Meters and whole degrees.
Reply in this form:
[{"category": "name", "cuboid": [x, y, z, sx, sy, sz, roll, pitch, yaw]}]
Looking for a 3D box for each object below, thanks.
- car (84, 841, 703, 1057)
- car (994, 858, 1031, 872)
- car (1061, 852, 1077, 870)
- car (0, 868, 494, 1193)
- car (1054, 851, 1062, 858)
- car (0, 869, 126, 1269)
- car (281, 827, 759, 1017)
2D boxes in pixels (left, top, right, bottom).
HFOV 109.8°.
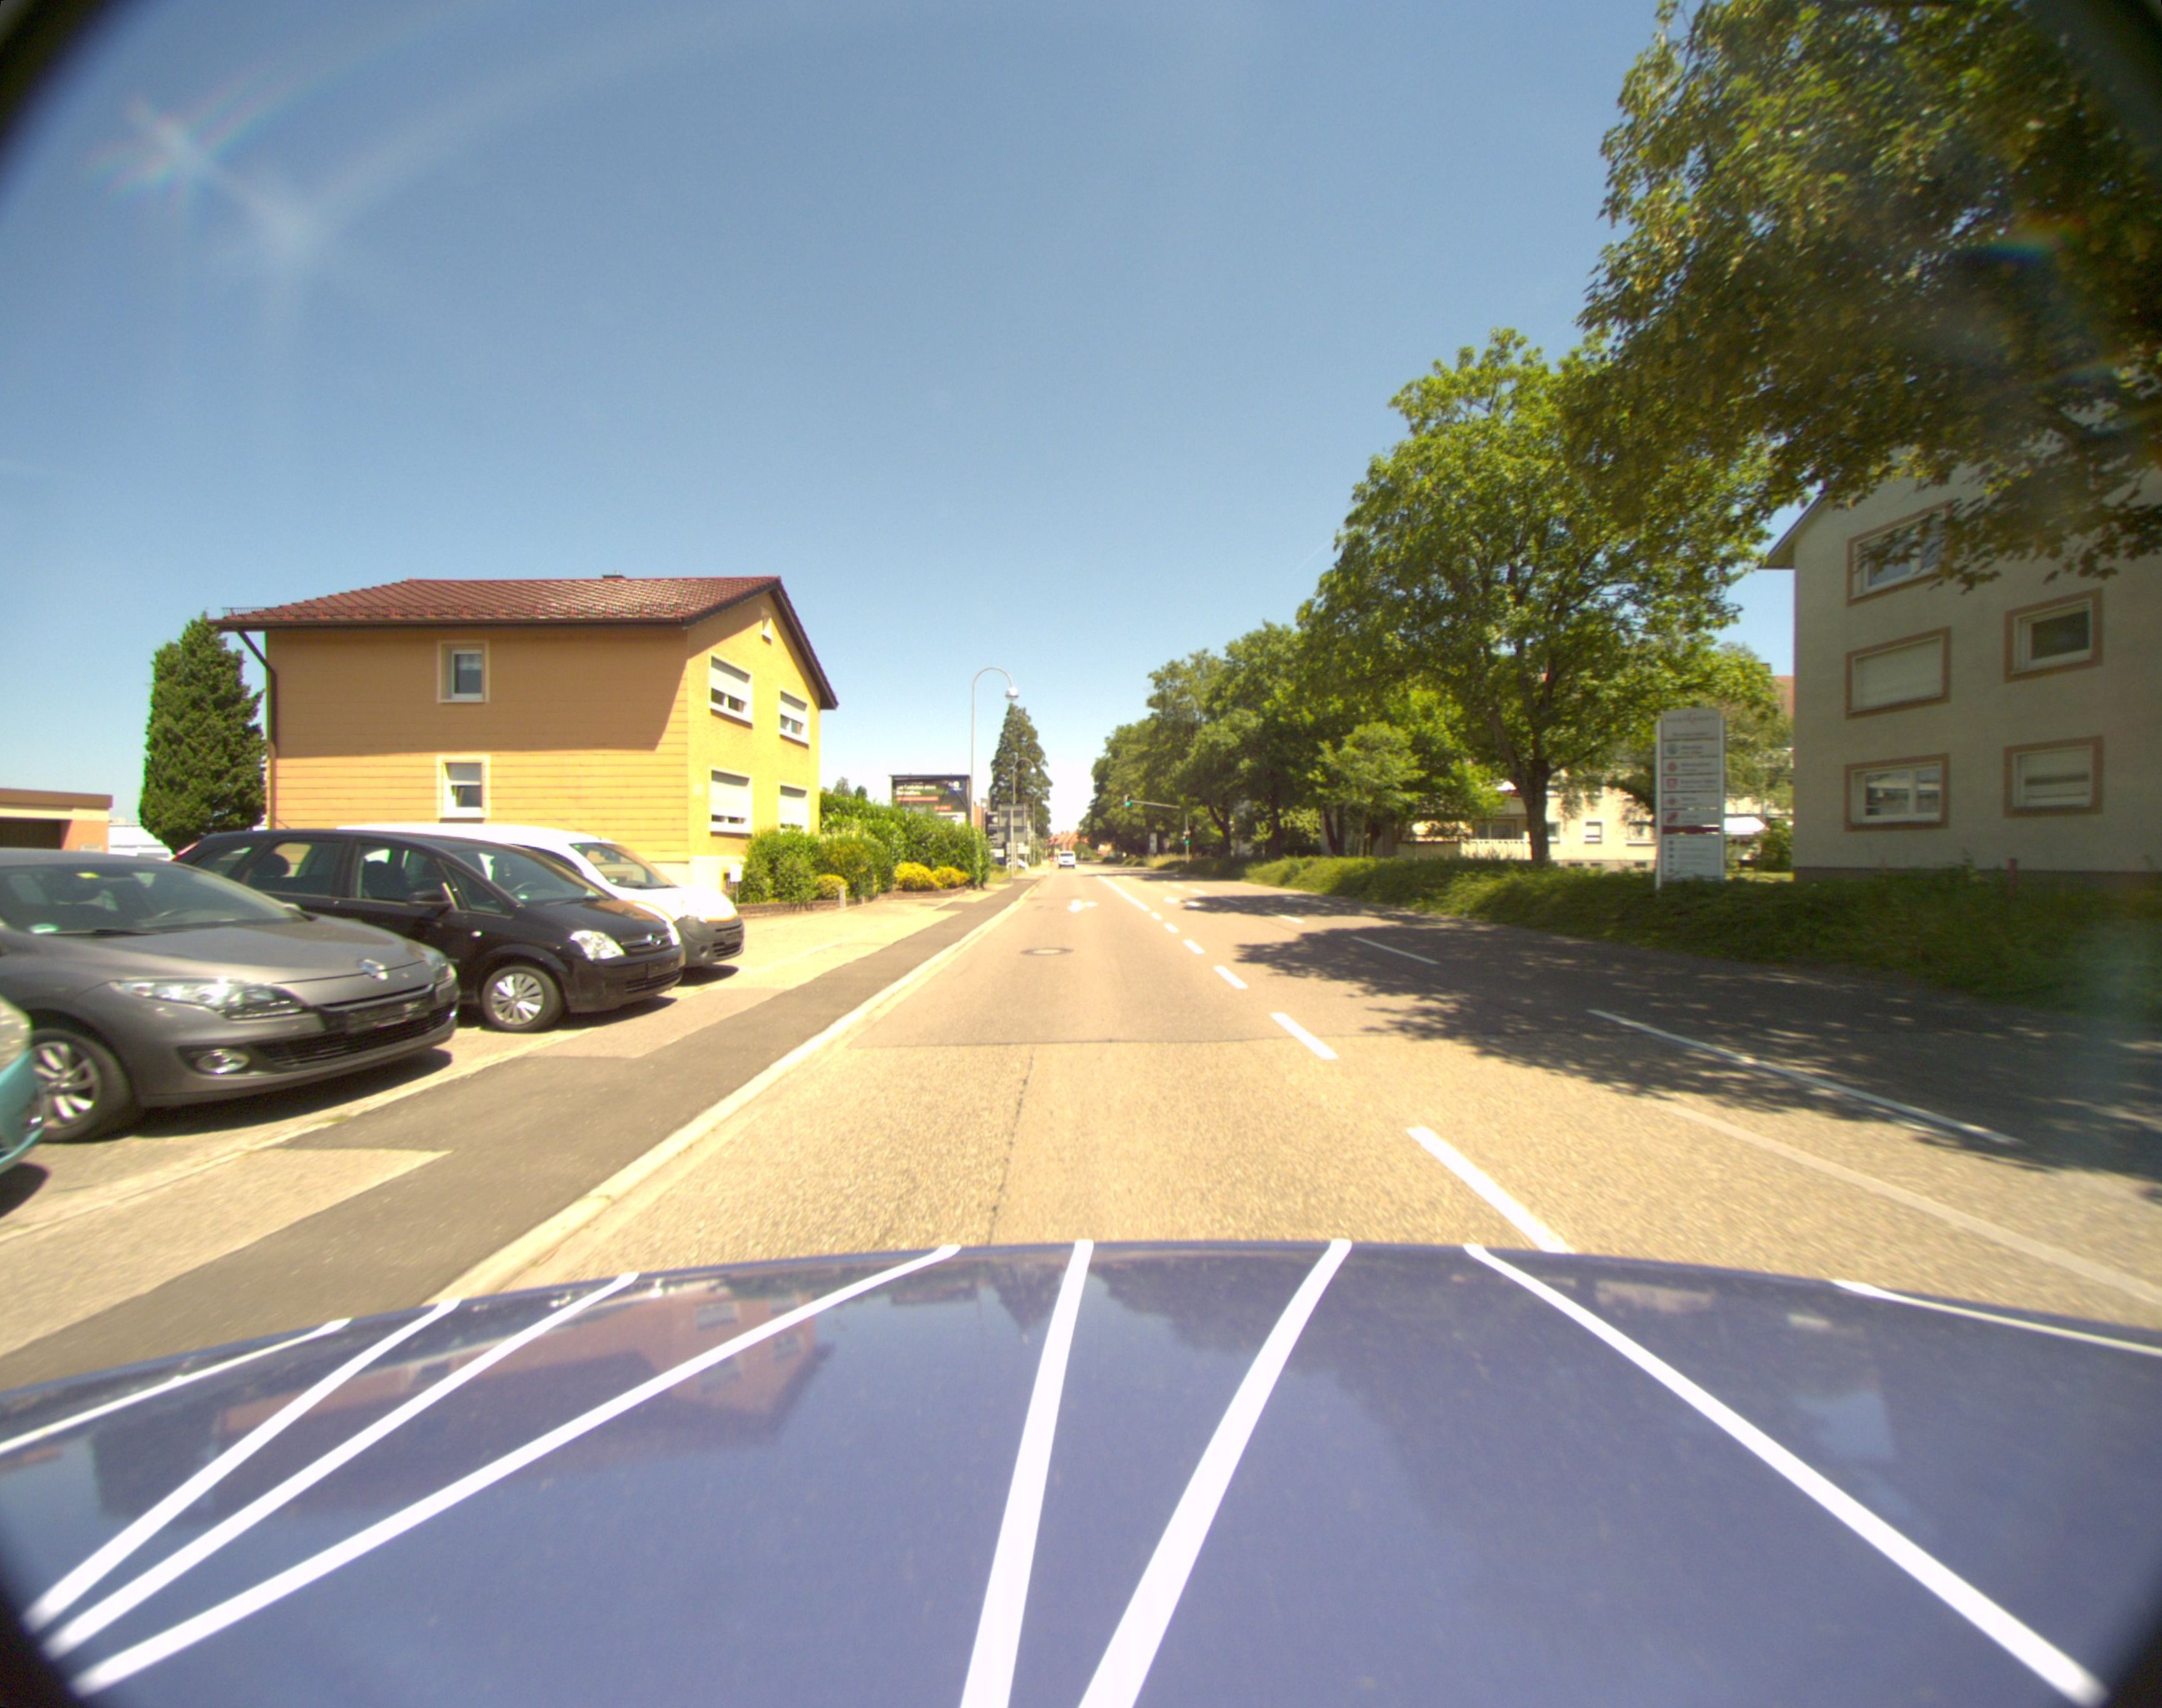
[{"category": "car", "cuboid": [-5.788, 0.750, 6.835, 3.886, 1.671, 1.763, 0, 0, -2]}, {"category": "car", "cuboid": [-7.218, 1.111, 80.106, 3.637, 1.375, 1.627, -1, 1, 1]}, {"category": "car", "cuboid": [-1.440, 0.784, 87.660, 1.796, 1.904, 3.639, -1, 1, -1]}, {"category": "car", "cuboid": [-6.138, 0.859, 4.576, 3.801, 1.501, 1.833, 0, 0, 1]}, {"category": "car", "cuboid": [-6.216, 0.096, 205.971, 1.862, 2.002, 4.000, -1, 0, 1]}, {"category": "car", "cuboid": [-6.061, 0.834, 2.489, 3.694, 1.557, 1.641, 0, 0, -2]}, {"category": "car", "cuboid": [-6.250, 0.698, 8.930, 4.146, 1.927, 1.807, -1, 0, -5]}]
